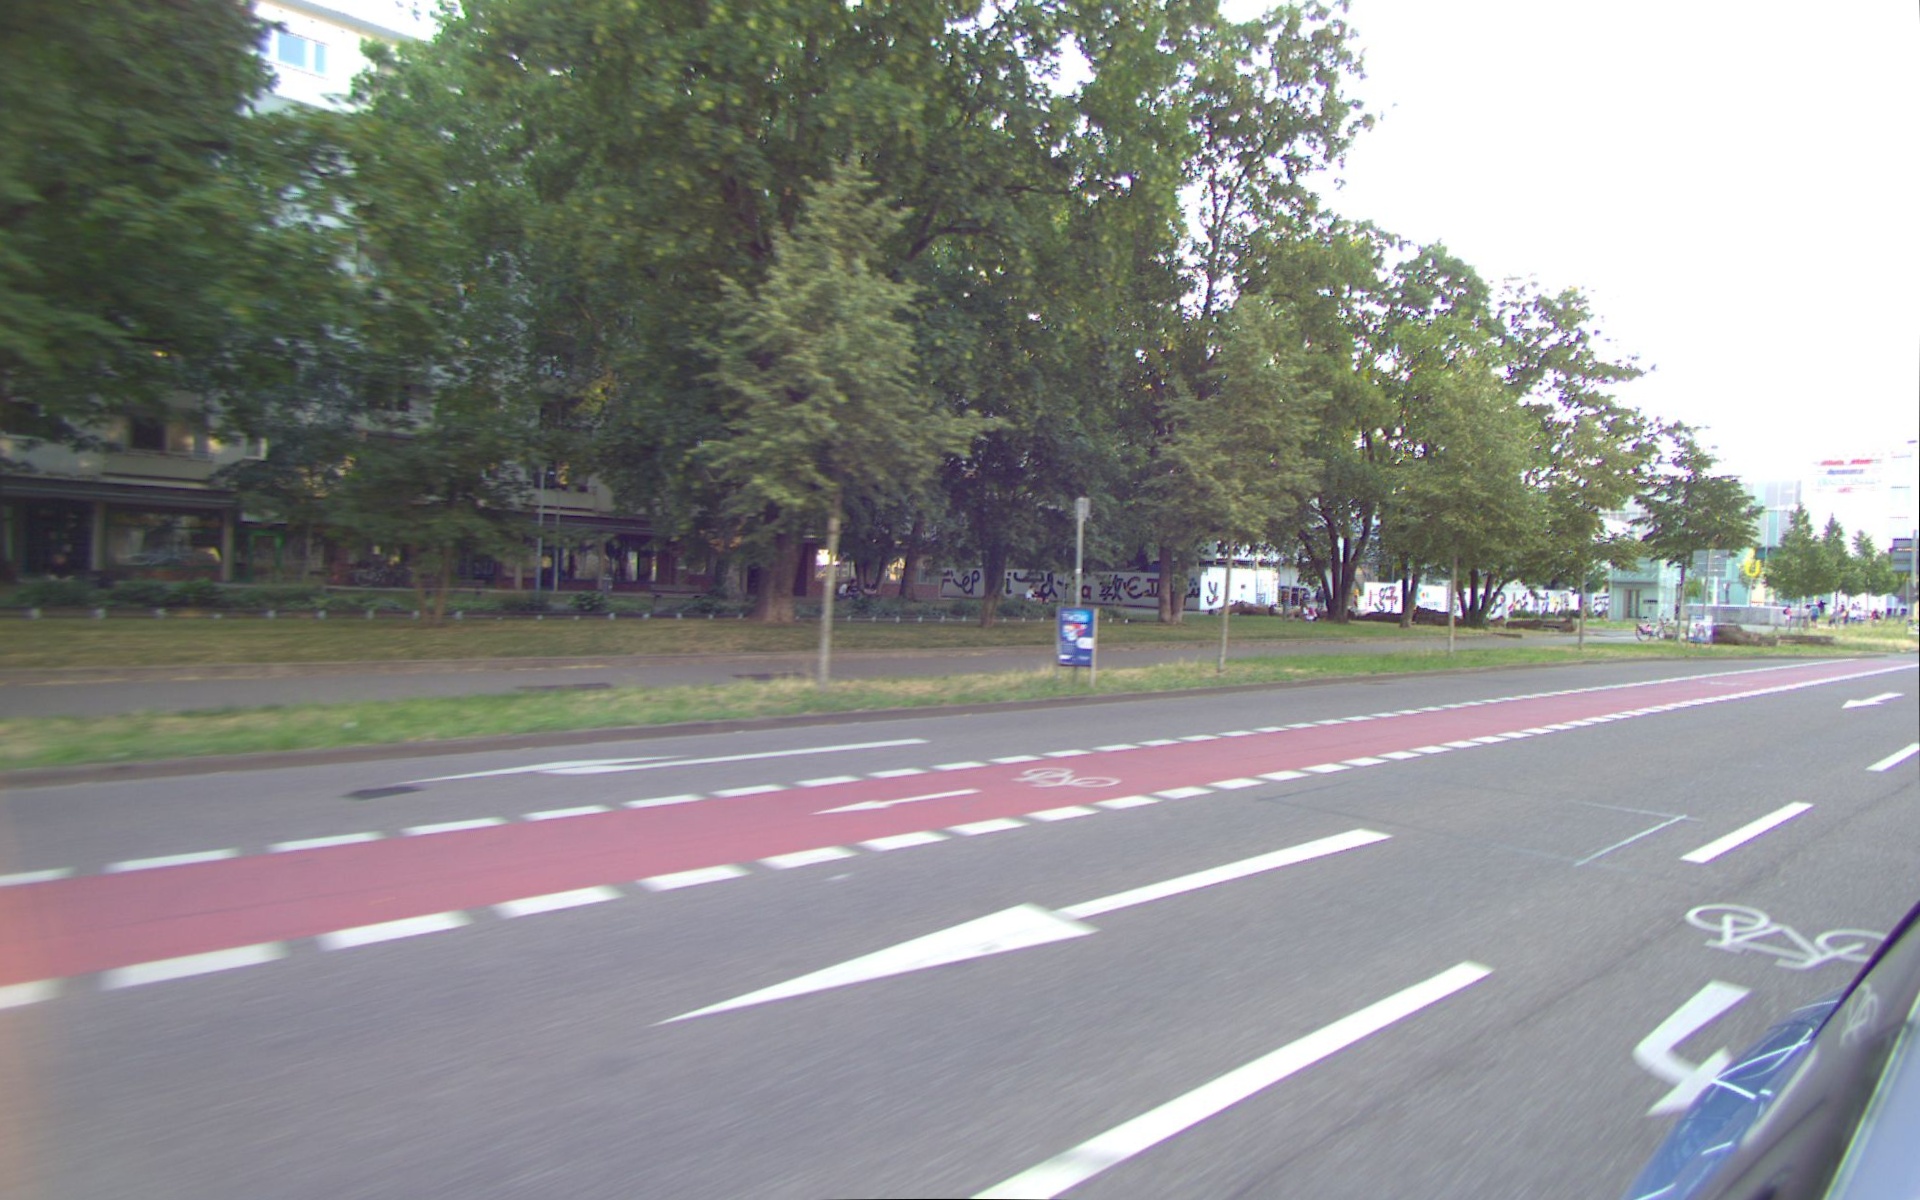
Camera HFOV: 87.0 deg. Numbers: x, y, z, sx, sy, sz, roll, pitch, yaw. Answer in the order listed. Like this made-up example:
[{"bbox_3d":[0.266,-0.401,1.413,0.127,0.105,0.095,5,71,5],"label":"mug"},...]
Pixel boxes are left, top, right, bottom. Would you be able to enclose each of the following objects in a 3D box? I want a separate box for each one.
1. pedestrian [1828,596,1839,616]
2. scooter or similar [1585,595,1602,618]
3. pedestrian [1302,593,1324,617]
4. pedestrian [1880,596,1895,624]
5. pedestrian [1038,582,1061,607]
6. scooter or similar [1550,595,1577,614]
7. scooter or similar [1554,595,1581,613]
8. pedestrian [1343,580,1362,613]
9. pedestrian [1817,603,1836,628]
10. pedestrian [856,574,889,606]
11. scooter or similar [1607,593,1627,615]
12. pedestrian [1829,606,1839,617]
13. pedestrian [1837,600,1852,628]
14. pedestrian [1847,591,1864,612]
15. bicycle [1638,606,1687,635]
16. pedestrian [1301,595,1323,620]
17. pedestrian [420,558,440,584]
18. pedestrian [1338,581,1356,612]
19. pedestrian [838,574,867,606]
[{"bbox_3d":[83.216,0.550,96.359,0.575,1.877,0.605,1,1,-34],"label":"pedestrian"},{"bbox_3d":[36.721,0.378,58.663,0.473,1.235,1.549,6,4,44],"label":"scooter or similar"},{"bbox_3d":[13.365,0.180,38.305,0.675,0.895,0.618,3,1,27],"label":"pedestrian"},{"bbox_3d":[65.825,0.694,71.815,0.608,1.957,0.644,1,1,-39],"label":"pedestrian"},{"bbox_3d":[4.340,-0.259,49.136,0.754,1.178,0.787,0,2,-45],"label":"pedestrian"},{"bbox_3d":[42.206,0.311,70.754,0.466,1.236,1.572,1,0,-41],"label":"scooter or similar"},{"bbox_3d":[42.779,0.301,71.321,0.466,1.236,1.572,1,0,-41],"label":"scooter or similar"},{"bbox_3d":[23.326,-0.213,60.168,0.587,1.943,0.771,1,1,-24],"label":"pedestrian"},{"bbox_3d":[65.053,1.187,75.982,1.026,1.838,0.817,2,0,-34],"label":"pedestrian"},{"bbox_3d":[-3.643,-0.406,42.128,0.888,1.276,1.135,1,1,-37],"label":"pedestrian"},{"bbox_3d":[37.521,0.241,57.789,1.373,1.235,0.425,1,3,-39],"label":"scooter or similar"},{"bbox_3d":[81.901,1.048,94.869,0.643,0.975,0.648,1,1,-45],"label":"pedestrian"},{"bbox_3d":[64.125,1.026,73.337,0.608,1.957,0.644,2,1,-37],"label":"pedestrian"},{"bbox_3d":[85.118,0.153,96.205,0.882,1.876,0.723,4,4,17],"label":"pedestrian"},{"bbox_3d":[27.463,0.807,39.575,1.858,1.017,0.497,2,3,-19],"label":"bicycle"},{"bbox_3d":[13.141,0.263,37.742,0.674,0.895,0.588,2,1,26],"label":"pedestrian"},{"bbox_3d":[-24.714,-1.369,47.218,0.687,1.178,0.788,1,1,-38],"label":"pedestrian"},{"bbox_3d":[23.642,-0.237,61.845,0.587,1.843,0.771,1,1,-24],"label":"pedestrian"},{"bbox_3d":[-4.423,-0.428,41.610,0.712,1.276,1.135,1,1,-36],"label":"pedestrian"}]
